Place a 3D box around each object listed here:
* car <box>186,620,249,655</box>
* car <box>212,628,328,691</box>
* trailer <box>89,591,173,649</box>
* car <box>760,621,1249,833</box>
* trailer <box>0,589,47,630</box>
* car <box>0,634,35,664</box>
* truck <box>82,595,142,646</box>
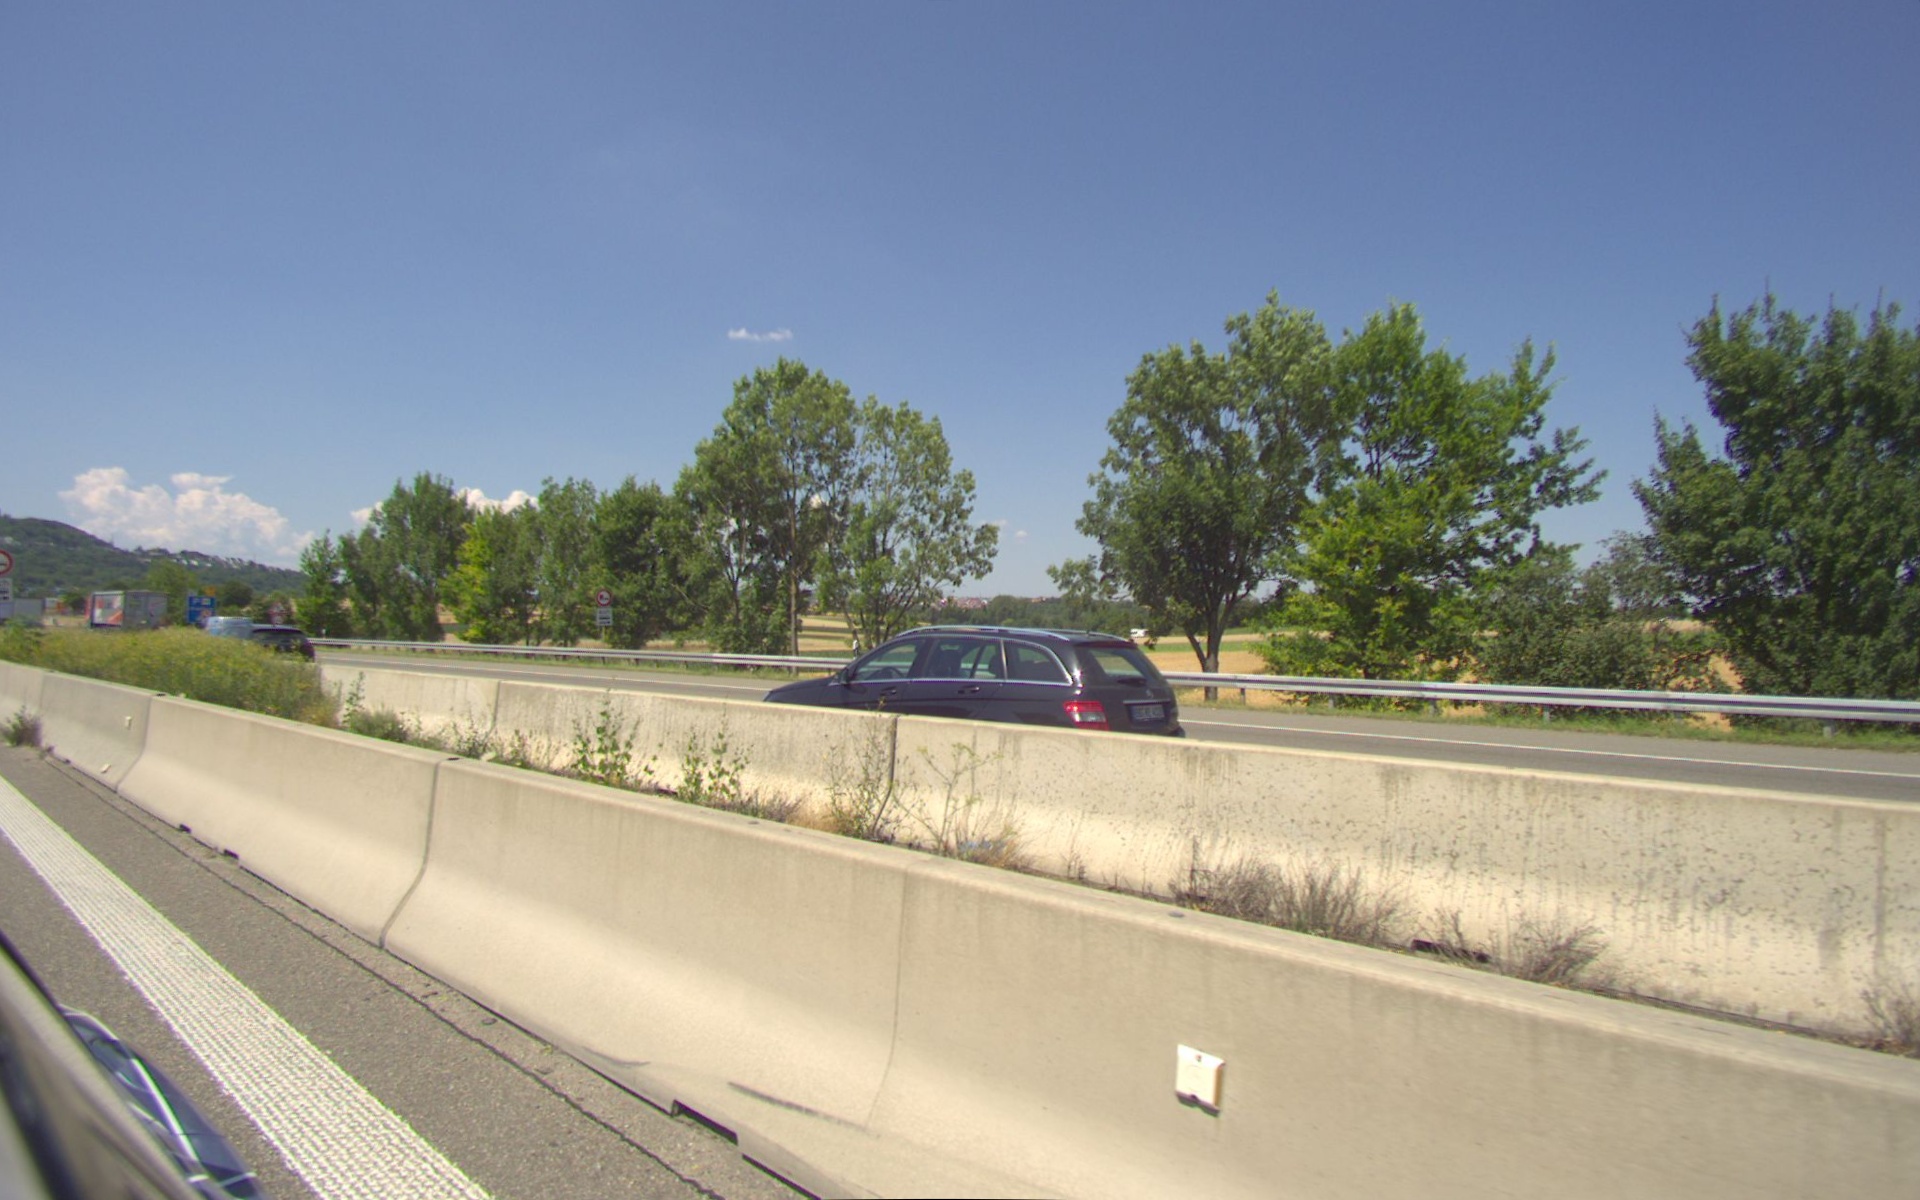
[{"bbox_3d":[-43.141,2.166,58.742,5.114,1.967,1.744,-1,-3,40],"label":"car"},{"bbox_3d":[-17.656,1.465,25.841,3.770,1.498,1.524,-1,-2,40],"label":"car"},{"bbox_3d":[-60.550,1.514,73.756,12.181,3.885,2.825,-1,-3,42],"label":"trailer"},{"bbox_3d":[0.209,0.954,9.263,4.394,1.498,1.656,-1,-2,40],"label":"car"},{"bbox_3d":[-104.613,1.134,112.880,13.641,4.383,2.852,-1,-2,43],"label":"trailer"},{"bbox_3d":[-51.629,2.623,54.829,4.726,1.562,1.743,-1,-2,42],"label":"car"},{"bbox_3d":[-65.579,1.619,78.260,3.998,3.885,2.826,-1,-3,41],"label":"truck"}]
